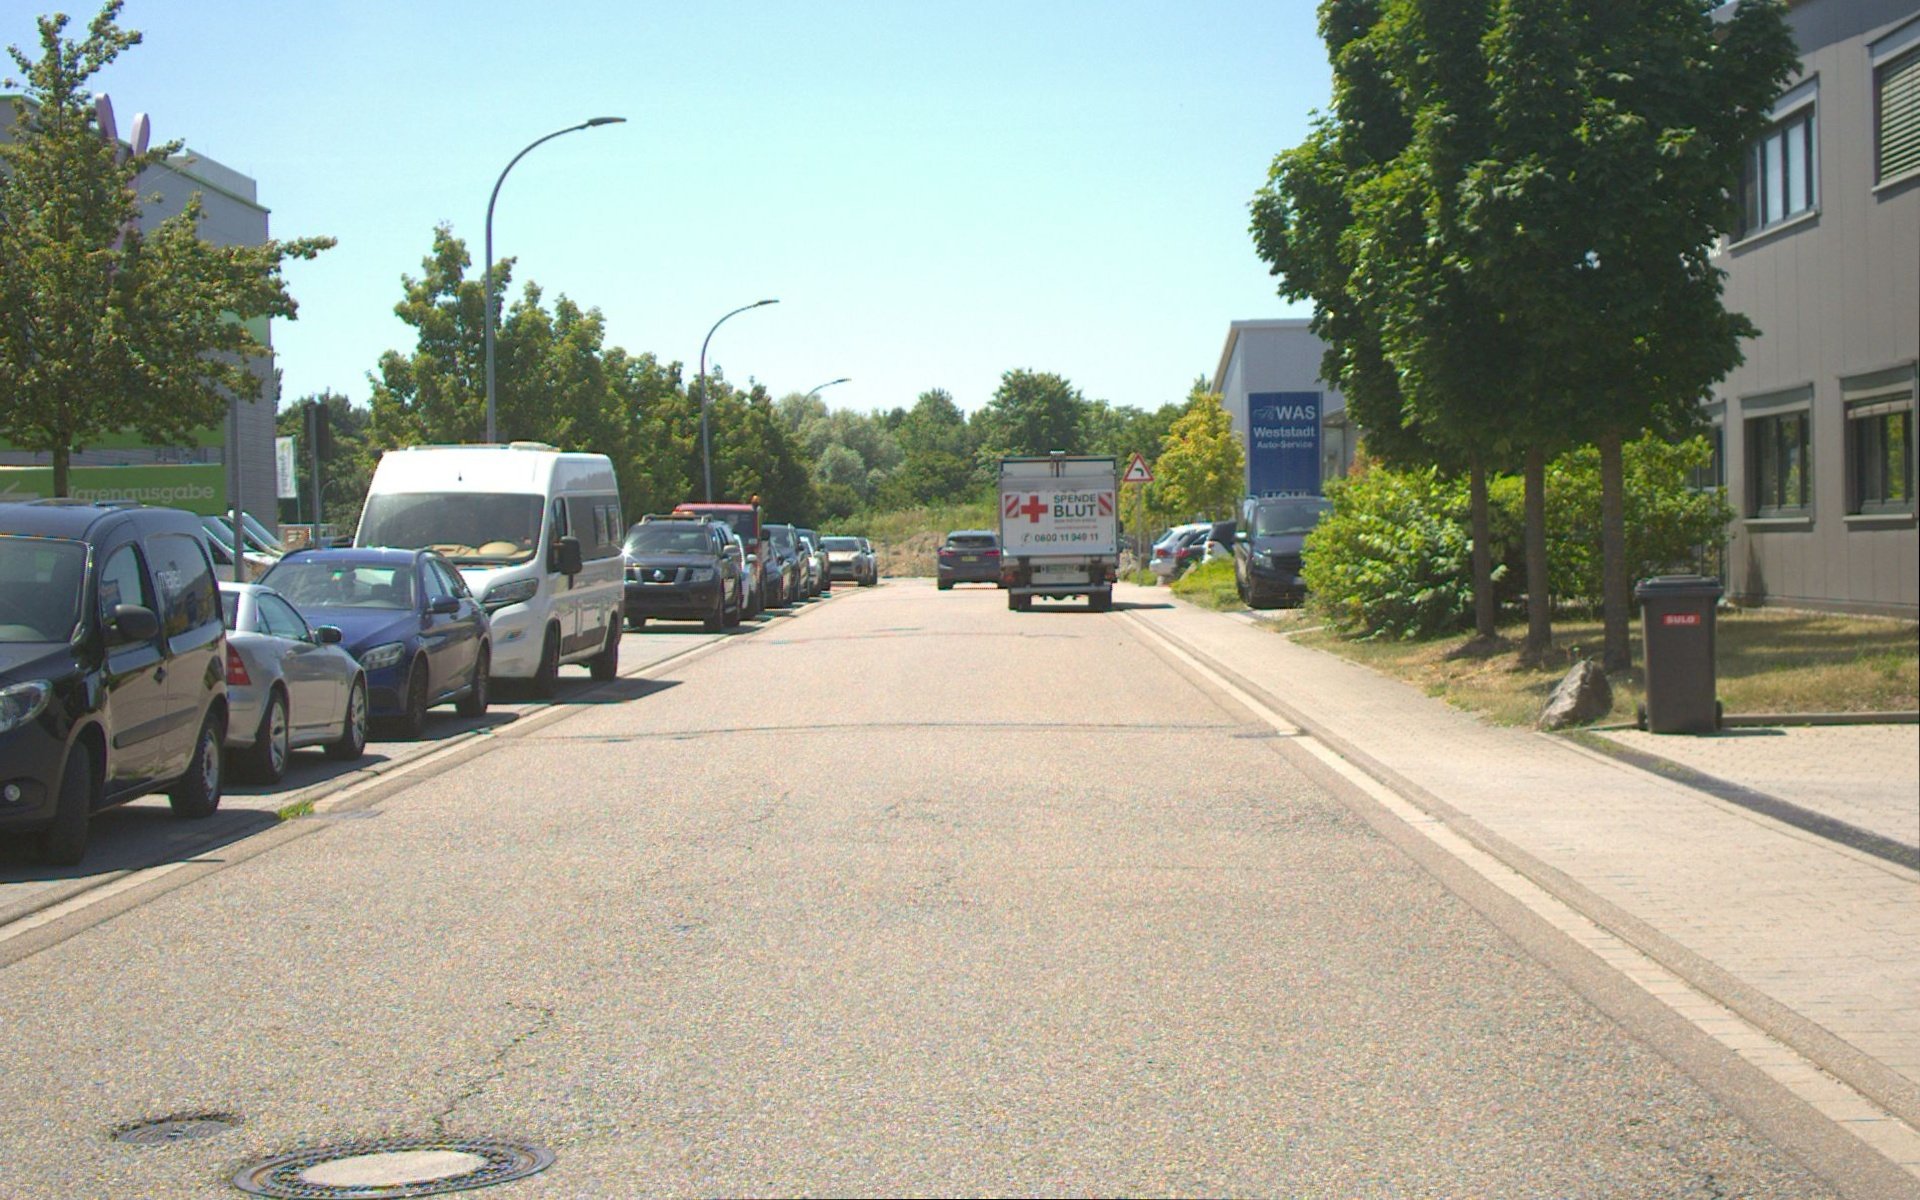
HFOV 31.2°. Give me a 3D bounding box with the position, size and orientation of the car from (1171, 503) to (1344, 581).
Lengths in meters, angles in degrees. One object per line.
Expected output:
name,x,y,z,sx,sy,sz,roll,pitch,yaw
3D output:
car,7.040,-1.368,81.576,3.875,1.744,1.752,1,1,-1

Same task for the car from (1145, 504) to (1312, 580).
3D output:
car,6.569,-1.419,84.246,3.875,1.744,1.752,1,1,-1

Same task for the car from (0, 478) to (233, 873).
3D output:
car,-5.126,0.315,17.858,1.799,1.808,4.252,0,1,0

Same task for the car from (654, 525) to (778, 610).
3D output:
car,-4.438,-0.622,63.006,1.799,1.482,4.252,0,1,2

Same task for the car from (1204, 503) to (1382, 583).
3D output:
car,7.668,-1.321,79.395,3.875,1.744,1.752,1,1,-1

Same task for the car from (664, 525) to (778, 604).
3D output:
car,-4.703,-0.731,68.247,1.799,1.482,4.252,0,1,2

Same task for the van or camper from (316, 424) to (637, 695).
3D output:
van or camper,-4.799,-0.422,35.117,2.079,2.474,6.130,1,1,3

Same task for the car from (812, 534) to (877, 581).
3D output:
car,-3.757,-1.406,112.650,1.799,1.482,4.252,0,1,2

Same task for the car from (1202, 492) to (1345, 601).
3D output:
car,5.427,-0.938,59.960,1.993,1.797,4.140,-1,1,-1

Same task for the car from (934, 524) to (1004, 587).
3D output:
car,0.255,-1.195,92.096,1.789,1.618,3.809,1,1,0

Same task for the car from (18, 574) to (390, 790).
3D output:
car,-4.975,0.489,23.096,1.478,1.293,3.899,0,1,3

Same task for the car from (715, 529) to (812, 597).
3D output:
car,-4.439,-0.863,78.245,1.799,1.482,4.252,0,1,2

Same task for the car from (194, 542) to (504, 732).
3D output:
car,-4.939,0.246,28.334,1.799,1.444,4.252,0,1,0

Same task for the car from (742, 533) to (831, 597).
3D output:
car,-4.197,-0.866,83.697,1.799,1.482,4.252,0,1,2

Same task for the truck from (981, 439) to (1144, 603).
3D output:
truck,1.953,-1.499,66.567,2.933,2.963,6.419,1,1,1

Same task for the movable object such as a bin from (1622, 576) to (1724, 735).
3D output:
movable object such as a bin,4.841,0.367,23.376,0.531,1.049,0.845,-1,1,3

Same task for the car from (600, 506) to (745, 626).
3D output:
car,-4.554,-0.582,55.038,1.799,1.842,4.252,0,1,2
